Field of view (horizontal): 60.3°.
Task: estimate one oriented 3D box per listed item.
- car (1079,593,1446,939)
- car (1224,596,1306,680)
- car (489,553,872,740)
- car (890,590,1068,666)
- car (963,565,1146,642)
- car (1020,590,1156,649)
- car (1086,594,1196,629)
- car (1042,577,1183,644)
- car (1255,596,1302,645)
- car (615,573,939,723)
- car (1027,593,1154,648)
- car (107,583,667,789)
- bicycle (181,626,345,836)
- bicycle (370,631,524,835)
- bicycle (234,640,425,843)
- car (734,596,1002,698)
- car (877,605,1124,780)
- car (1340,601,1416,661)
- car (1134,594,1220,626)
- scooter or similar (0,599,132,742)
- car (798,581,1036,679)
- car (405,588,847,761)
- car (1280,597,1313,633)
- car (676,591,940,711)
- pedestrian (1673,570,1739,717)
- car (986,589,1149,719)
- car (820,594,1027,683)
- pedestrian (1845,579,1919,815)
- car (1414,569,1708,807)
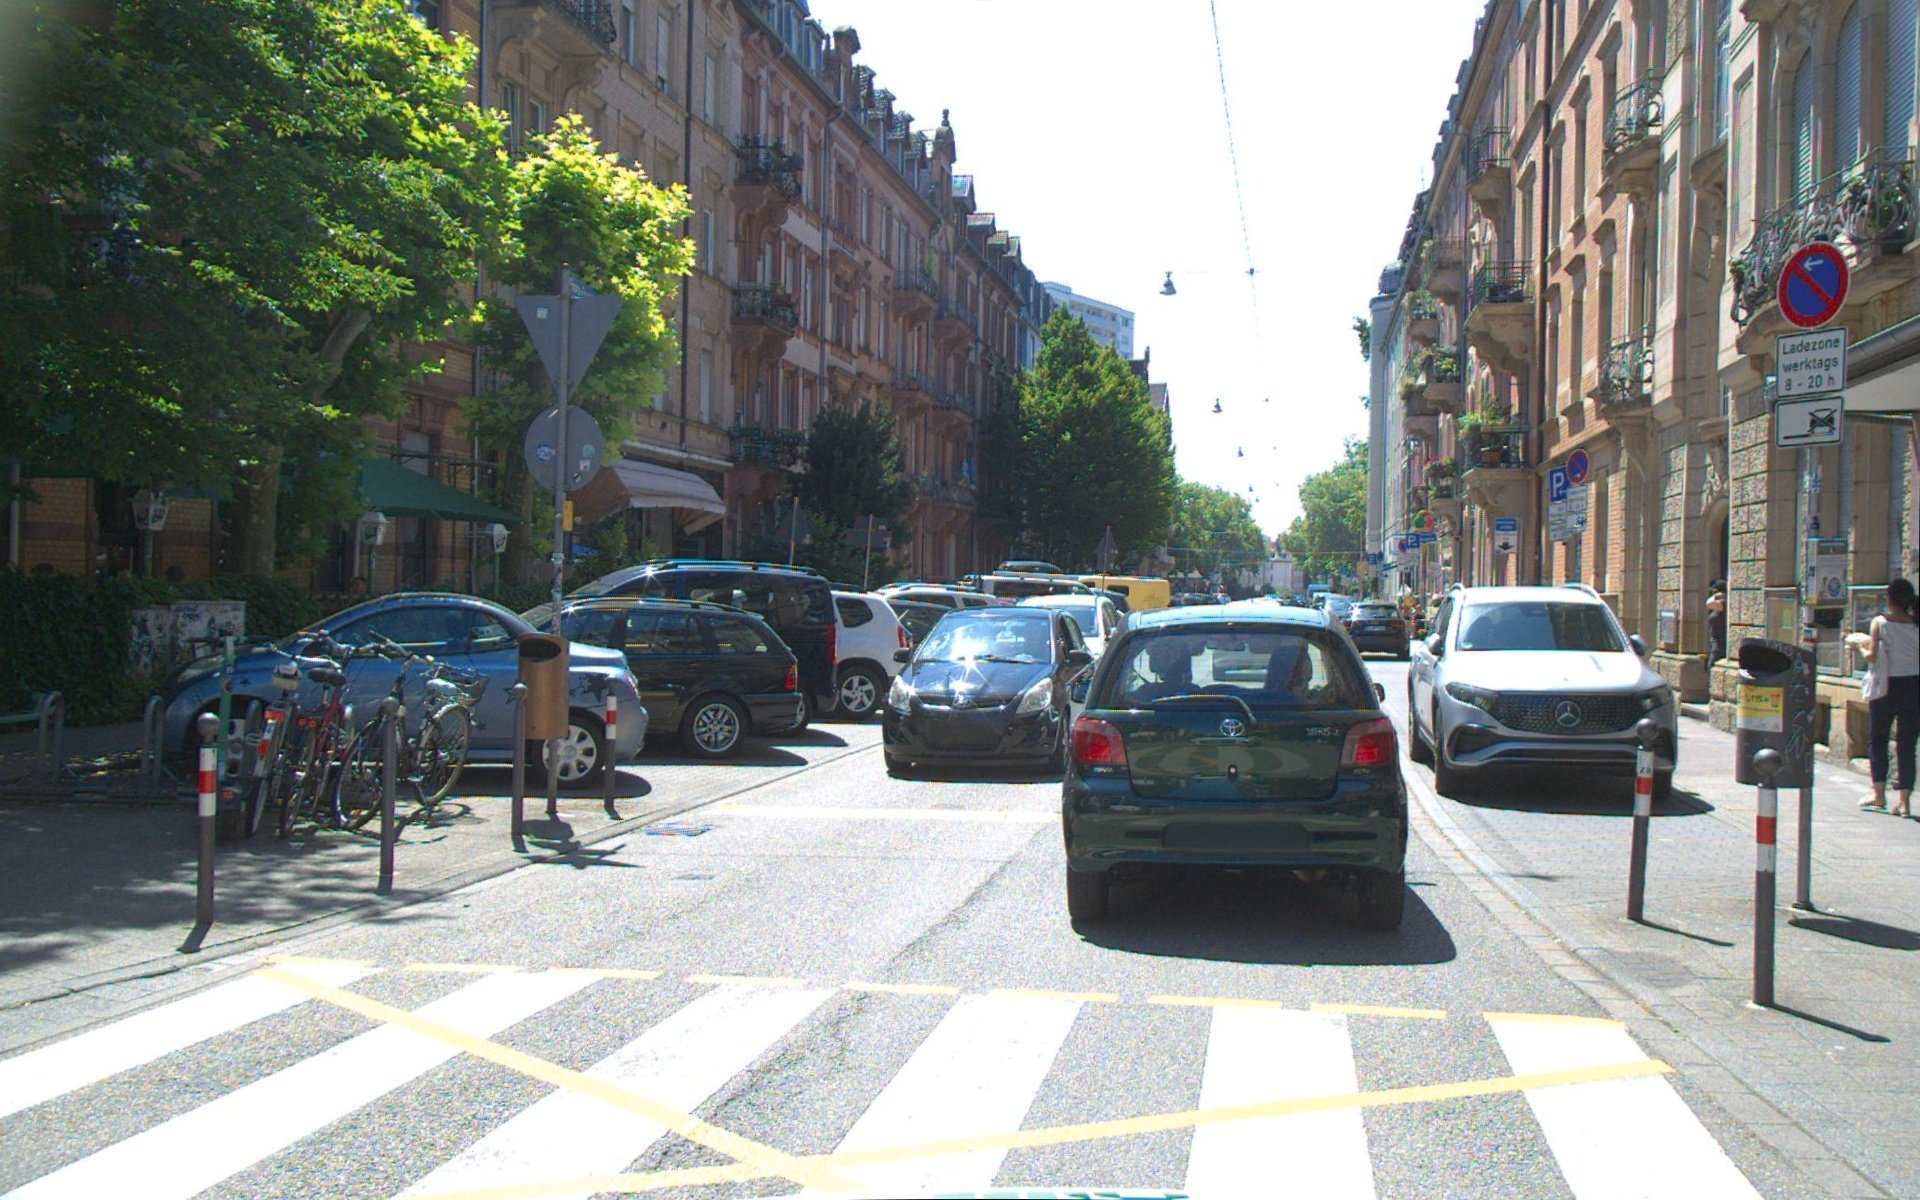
[{"bbox_3d":[1.496,0.742,8.917,1.579,1.511,3.243,-1,0,6],"label":"car"},{"bbox_3d":[6.090,0.707,32.929,1.490,1.547,3.267,1,1,11],"label":"car"},{"bbox_3d":[-3.128,0.505,18.338,3.924,1.835,1.760,3,0,-18],"label":"car"},{"bbox_3d":[0.413,0.640,38.523,3.841,1.647,1.860,1,0,-12],"label":"car"},{"bbox_3d":[2.645,0.099,46.398,4.697,2.029,2.044,1,0,-17],"label":"car"},{"bbox_3d":[3.966,0.598,51.413,3.841,1.738,1.860,1,0,-12],"label":"car"},{"bbox_3d":[8.128,0.522,74.323,4.482,1.459,1.992,1,0,-15],"label":"car"},{"bbox_3d":[5.343,0.375,58.005,4.482,2.226,1.992,1,0,-15],"label":"car"},{"bbox_3d":[11.148,0.703,57.869,1.490,1.620,3.266,1,1,13],"label":"car"},{"bbox_3d":[-2.379,0.593,21.229,3.916,1.686,1.755,3,0,-12],"label":"car"},{"bbox_3d":[4.253,0.663,54.237,3.793,1.668,1.780,1,0,-12],"label":"car"},{"bbox_3d":[-4.486,0.673,13.377,3.924,1.399,1.991,3,0,-17],"label":"car"},{"bbox_3d":[-4.398,0.781,10.527,0.331,1.177,1.620,3,0,-1],"label":"bicycle"},{"bbox_3d":[-3.409,0.841,11.110,0.481,1.193,1.684,3,0,-1],"label":"bicycle"},{"bbox_3d":[-3.998,0.850,10.629,0.481,1.100,1.898,3,0,-1],"label":"bicycle"},{"bbox_3d":[-1.457,0.734,26.398,3.864,1.496,1.849,1,0,-28],"label":"car"},{"bbox_3d":[0.535,0.795,16.254,1.717,1.469,4.003,1,0,12],"label":"car"},{"bbox_3d":[10.688,0.755,42.442,1.717,1.454,4.003,1,0,12],"label":"car"},{"bbox_3d":[12.610,0.597,96.327,4.531,1.756,1.992,1,0,-15],"label":"car"},{"bbox_3d":[-7.665,0.572,13.852,0.272,1.140,1.470,4,1,20],"label":"scooter or similar"},{"bbox_3d":[-0.758,0.538,29.739,3.866,1.647,1.848,1,0,-29],"label":"car"},{"bbox_3d":[-3.277,0.716,16.082,3.929,1.437,1.960,3,0,-21],"label":"car"},{"bbox_3d":[16.183,0.699,79.663,1.490,1.620,3.267,1,1,10],"label":"car"},{"bbox_3d":[-2.185,0.703,23.480,3.553,1.483,1.621,3,0,-10],"label":"car"},{"bbox_3d":[9.208,0.525,20.423,0.501,1.781,0.750,-1,0,5],"label":"pedestrian"},{"bbox_3d":[1.657,0.725,24.108,1.717,1.674,4.381,-2,-1,12],"label":"car"},{"bbox_3d":[-0.755,0.750,32.933,3.841,1.647,1.860,1,0,-12],"label":"car"},{"bbox_3d":[6.906,0.686,12.006,0.627,1.652,0.805,1,0,12],"label":"pedestrian"},{"bbox_3d":[5.068,0.660,14.533,1.831,1.743,4.507,-1,0,12],"label":"car"}]
